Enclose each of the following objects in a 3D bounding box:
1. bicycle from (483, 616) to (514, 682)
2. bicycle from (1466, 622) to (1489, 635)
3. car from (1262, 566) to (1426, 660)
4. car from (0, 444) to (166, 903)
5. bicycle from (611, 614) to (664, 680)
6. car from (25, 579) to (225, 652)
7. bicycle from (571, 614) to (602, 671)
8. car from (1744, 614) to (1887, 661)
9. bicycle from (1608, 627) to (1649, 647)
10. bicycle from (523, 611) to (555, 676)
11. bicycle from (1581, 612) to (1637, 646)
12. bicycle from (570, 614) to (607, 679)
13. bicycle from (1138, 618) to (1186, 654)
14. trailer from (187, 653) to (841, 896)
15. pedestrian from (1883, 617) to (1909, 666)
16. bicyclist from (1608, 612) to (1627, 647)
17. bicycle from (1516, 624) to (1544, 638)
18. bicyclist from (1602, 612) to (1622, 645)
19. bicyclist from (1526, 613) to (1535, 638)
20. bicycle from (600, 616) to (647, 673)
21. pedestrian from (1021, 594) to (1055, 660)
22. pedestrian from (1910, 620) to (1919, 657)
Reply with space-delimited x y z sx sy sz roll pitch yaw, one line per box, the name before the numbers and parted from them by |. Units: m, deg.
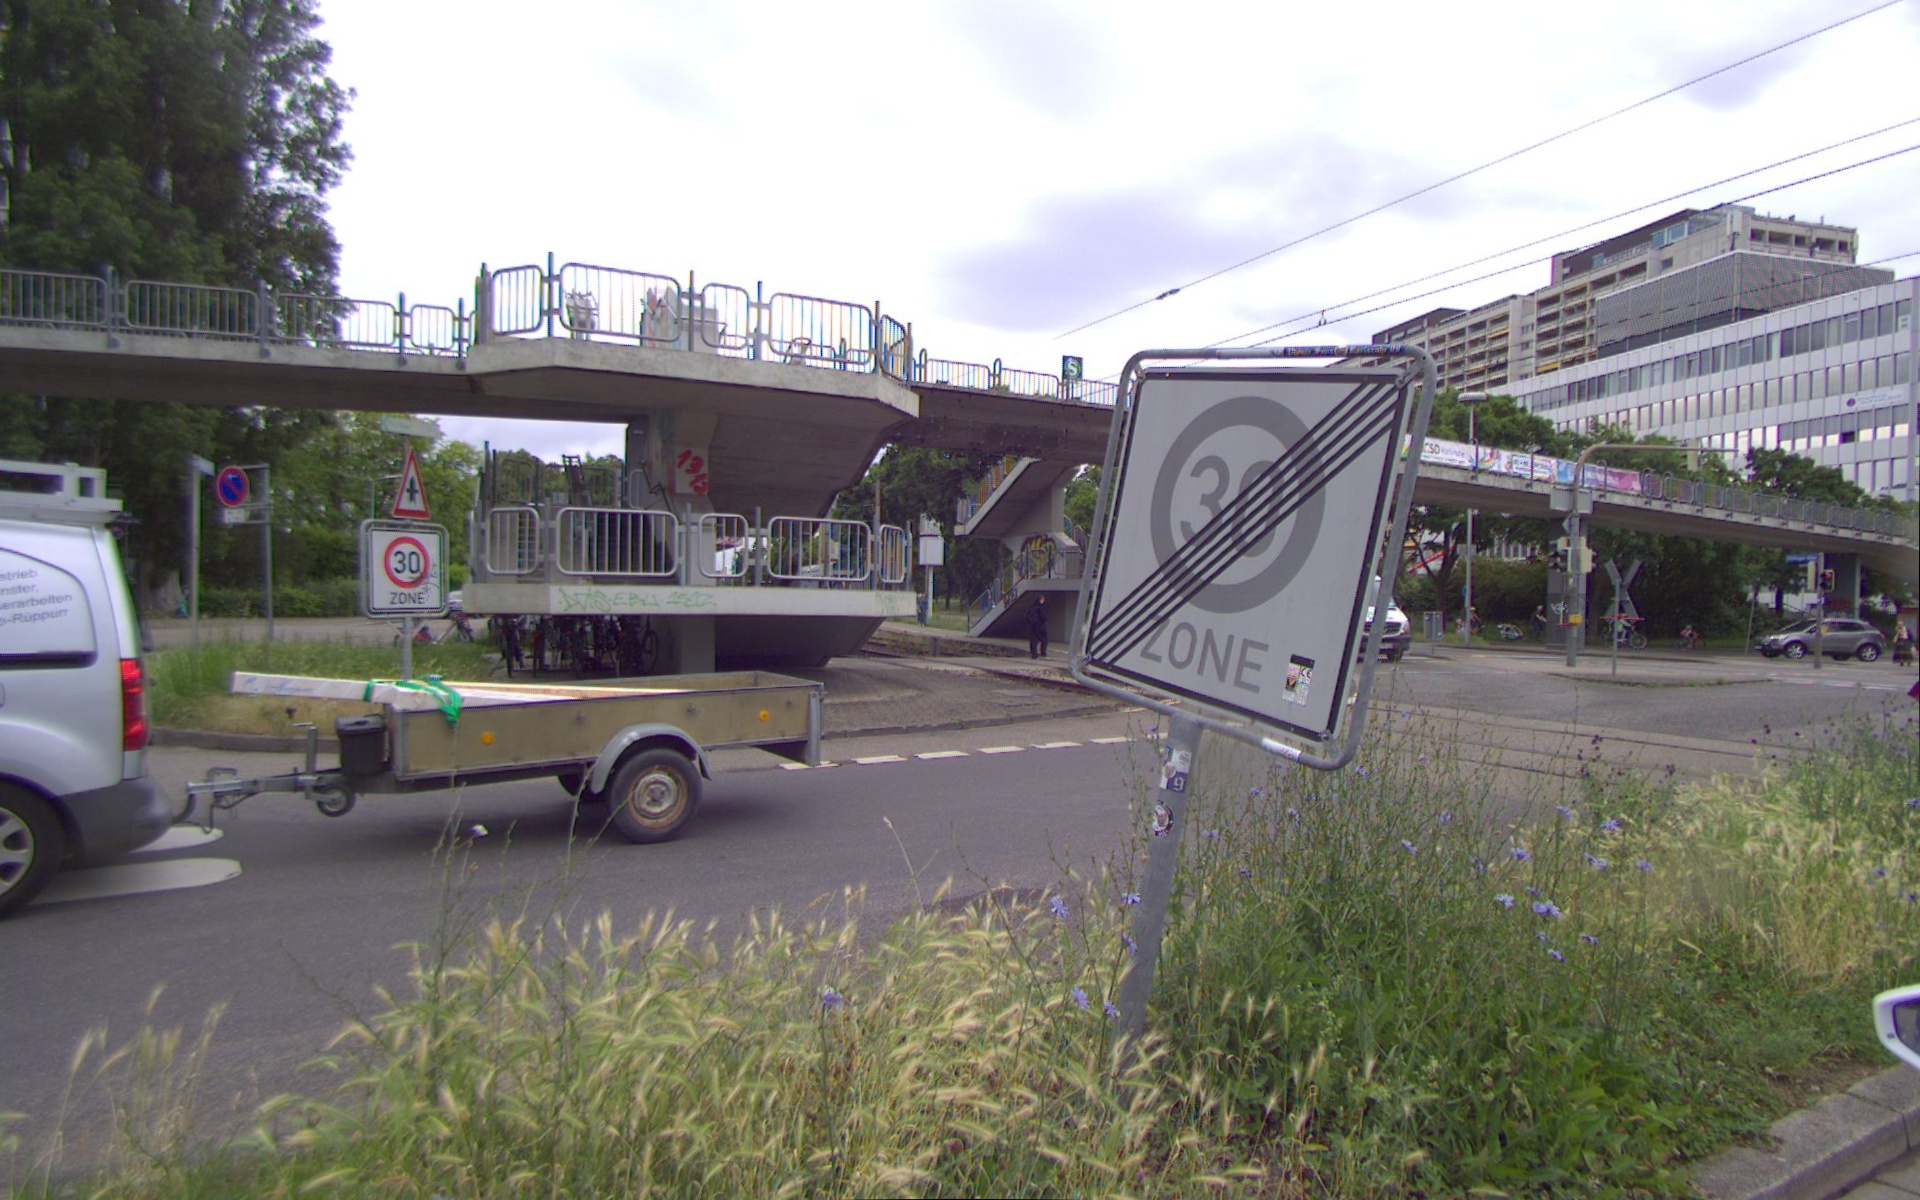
bicycle | -6.906 0.714 15.048 0.389 0.897 1.632 1 0 -24
bicycle | 28.930 1.573 56.160 0.263 0.677 1.138 1 1 -37
car | 10.391 0.319 27.686 2.101 2.323 5.203 0 0 -6
car | -5.777 0.246 3.811 4.191 1.882 2.068 2 0 -43
bicycle | -4.792 0.672 14.984 0.387 0.897 1.741 1 0 -6
car | -18.707 0.317 22.804 1.774 1.476 4.525 1 0 -16
bicycle | -6.446 0.705 17.303 0.389 0.897 1.632 1 0 -24
car | 35.201 1.510 41.462 4.125 1.758 1.629 1 0 19
bicycle | 32.639 1.783 49.028 2.494 0.938 0.628 1 0 -31
bicycle | -6.346 0.627 15.118 0.389 0.897 1.632 1 0 -24
bicycle | 32.900 1.450 50.947 2.320 1.647 0.527 2 0 23
bicycle | -5.630 0.683 15.188 0.389 0.897 1.632 1 0 -24
bicycle | 5.738 1.011 28.632 0.368 0.934 2.029 1 0 -18
trailer | -2.639 0.907 6.337 3.429 0.999 1.557 1 0 -35
pedestrian | 33.354 1.465 35.786 0.402 1.714 0.612 1 1 -43
bicyclist | 32.387 1.456 49.471 0.525 1.666 0.562 2 0 -29
bicycle | 30.397 1.668 53.547 1.277 0.701 0.289 2 1 39
bicyclist | 33.031 1.454 50.895 0.735 1.647 0.527 2 0 22
bicyclist | 30.401 1.344 53.531 0.378 1.321 0.277 2 1 37
bicycle | -5.766 0.738 17.176 0.390 0.897 1.628 1 0 -32
pedestrian | 2.018 0.691 25.941 0.593 1.664 0.659 1 1 -25
pedestrian | 41.490 1.654 43.402 0.572 1.600 0.777 2 0 42
